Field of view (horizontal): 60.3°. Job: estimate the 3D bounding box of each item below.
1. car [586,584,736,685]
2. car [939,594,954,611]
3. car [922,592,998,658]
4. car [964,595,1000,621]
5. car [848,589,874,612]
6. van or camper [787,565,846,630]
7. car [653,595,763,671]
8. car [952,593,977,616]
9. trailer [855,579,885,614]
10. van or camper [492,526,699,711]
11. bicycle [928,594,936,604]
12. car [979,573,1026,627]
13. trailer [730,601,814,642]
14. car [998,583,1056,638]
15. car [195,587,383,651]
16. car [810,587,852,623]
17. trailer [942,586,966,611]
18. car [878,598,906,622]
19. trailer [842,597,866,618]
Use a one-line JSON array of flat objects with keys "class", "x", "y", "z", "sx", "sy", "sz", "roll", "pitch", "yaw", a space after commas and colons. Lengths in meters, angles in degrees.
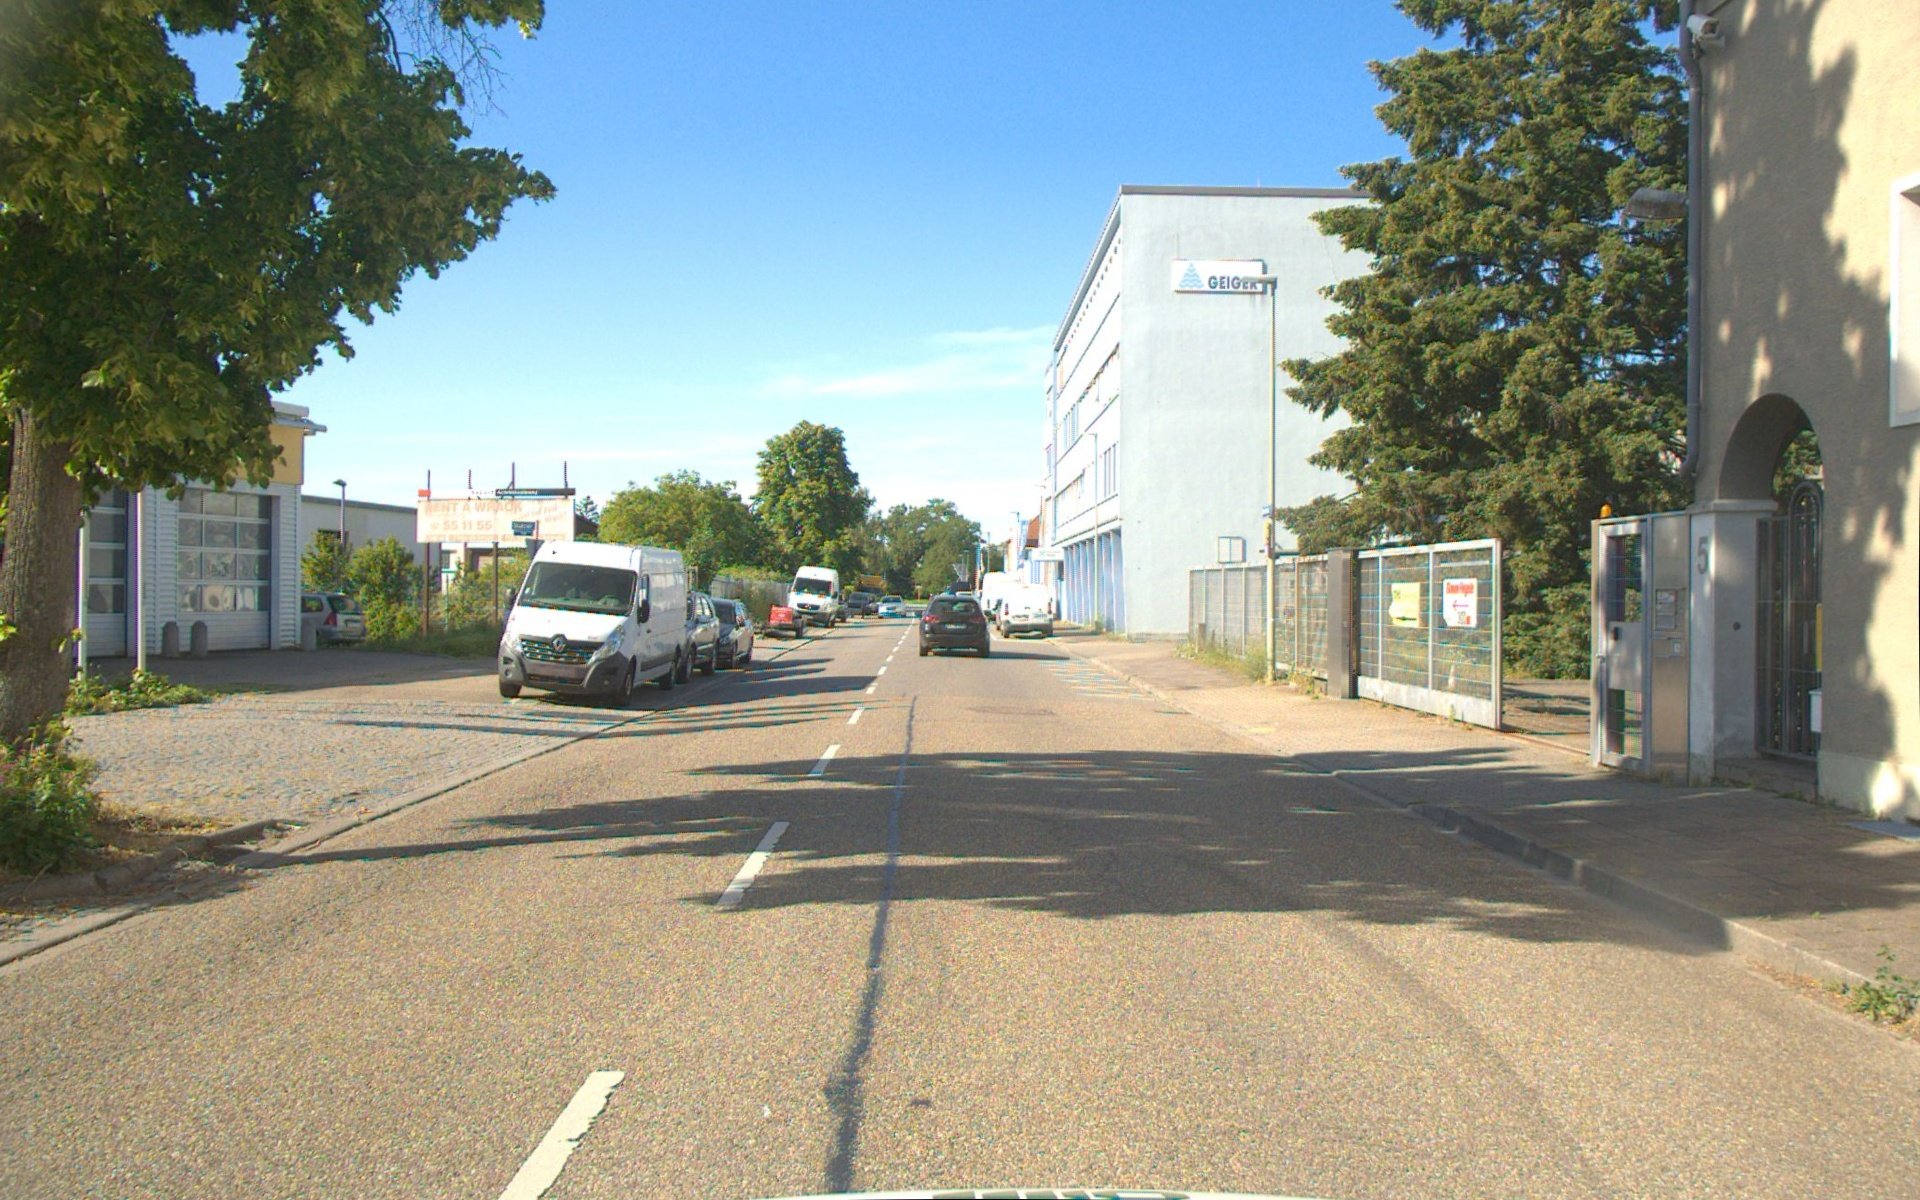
[{"class": "car", "x": -5.912, "y": 0.637, "z": 33.275, "sx": 1.952, "sy": 1.768, "sz": 4.576, "roll": 4, "pitch": 0, "yaw": 2}, {"class": "car", "x": -1.725, "y": 0.334, "z": 207.719, "sx": 1.836, "sy": 2.049, "sz": 5.159, "roll": 2, "pitch": -1, "yaw": -1}, {"class": "car", "x": -0.027, "y": 0.596, "z": 41.468, "sx": 1.809, "sy": 1.557, "sz": 3.999, "roll": 0, "pitch": 0, "yaw": -1}, {"class": "car", "x": 1.248, "y": 0.458, "z": 96.923, "sx": 1.856, "sy": 1.430, "sz": 5.122, "roll": 2, "pitch": -1, "yaw": -2}, {"class": "car", "x": -7.711, "y": -0.003, "z": 129.365, "sx": 1.755, "sy": 1.761, "sz": 4.802, "roll": 0, "pitch": 0, "yaw": 0}, {"class": "van or camper", "x": -6.581, "y": -0.121, "z": 76.497, "sx": 1.926, "sy": 2.731, "sz": 5.948, "roll": 5, "pitch": 0, "yaw": 0}, {"class": "car", "x": -5.785, "y": 0.706, "z": 38.559, "sx": 1.763, "sy": 1.536, "sz": 5.001, "roll": 4, "pitch": 0, "yaw": -1}, {"class": "car", "x": 0.337, "y": 0.384, "z": 141.253, "sx": 1.848, "sy": 1.829, "sz": 5.101, "roll": 2, "pitch": -1, "yaw": -2}, {"class": "trailer", "x": -9.206, "y": -0.381, "z": 170.005, "sx": 2.931, "sy": 3.503, "sz": 8.157, "roll": 0, "pitch": 0, "yaw": -3}, {"class": "van or camper", "x": -5.905, "y": 0.254, "z": 27.723, "sx": 2.029, "sy": 2.593, "sz": 6.402, "roll": 4, "pitch": 0, "yaw": -1}, {"class": "bicycle", "x": -3.520, "y": -0.097, "z": 208.528, "sx": 0.788, "sy": 1.290, "sz": 2.256, "roll": 2, "pitch": -1, "yaw": -4}, {"class": "car", "x": 2.137, "y": -0.051, "z": 85.316, "sx": 1.954, "sy": 2.643, "sz": 6.048, "roll": -2, "pitch": 1, "yaw": -2}, {"class": "trailer", "x": -6.495, "y": 0.727, "z": 57.861, "sx": 2.328, "sy": 1.098, "sz": 6.244, "roll": 4, "pitch": 1, "yaw": -2}, {"class": "car", "x": 2.363, "y": 0.364, "z": 59.545, "sx": 1.850, "sy": 1.864, "sz": 5.090, "roll": 1, "pitch": 0, "yaw": 0}, {"class": "car", "x": -17.232, "y": 0.471, "z": 42.546, "sx": 4.069, "sy": 1.601, "sz": 1.918, "roll": 0, "pitch": 0, "yaw": 9}, {"class": "car", "x": -6.987, "y": 0.249, "z": 89.745, "sx": 1.990, "sy": 1.723, "sz": 5.104, "roll": 4, "pitch": 0, "yaw": -3}, {"class": "trailer", "x": -0.647, "y": -0.139, "z": 177.699, "sx": 2.410, "sy": 2.719, "sz": 5.699, "roll": 0, "pitch": 0, "yaw": -2}, {"class": "car", "x": -4.393, "y": 0.632, "z": 107.668, "sx": 1.711, "sy": 1.473, "sz": 4.359, "roll": 0, "pitch": 0, "yaw": -1}, {"class": "trailer", "x": -7.076, "y": 0.513, "z": 110.972, "sx": 1.447, "sy": 1.378, "sz": 3.077, "roll": 2, "pitch": 0, "yaw": -1}]
